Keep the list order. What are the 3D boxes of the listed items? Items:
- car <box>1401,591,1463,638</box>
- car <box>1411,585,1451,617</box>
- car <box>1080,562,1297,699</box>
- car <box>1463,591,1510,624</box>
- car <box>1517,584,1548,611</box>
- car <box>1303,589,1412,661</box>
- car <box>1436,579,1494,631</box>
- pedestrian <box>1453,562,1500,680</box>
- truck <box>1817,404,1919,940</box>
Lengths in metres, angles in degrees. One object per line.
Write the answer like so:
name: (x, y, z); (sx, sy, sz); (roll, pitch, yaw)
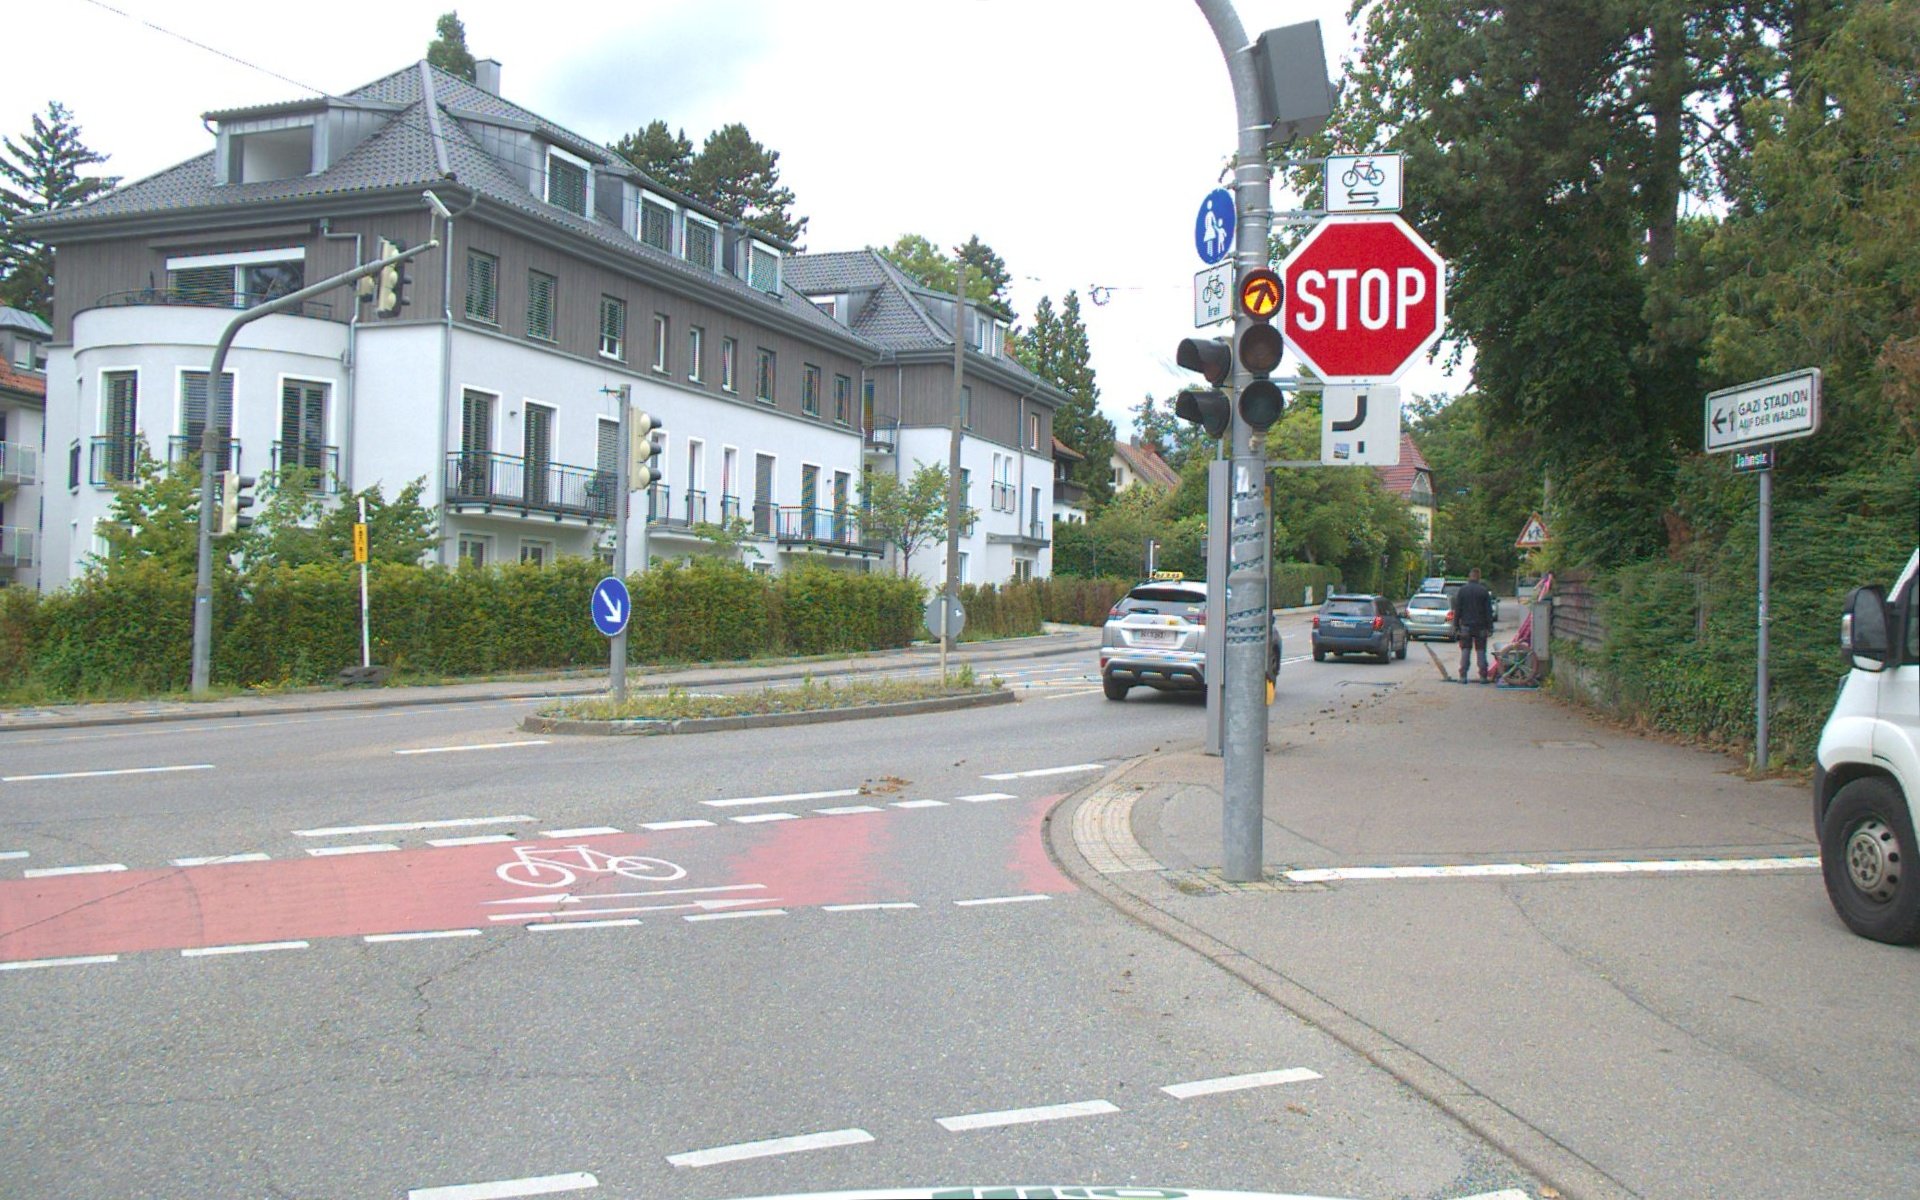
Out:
car: (14.988, 0.436, 52.432); (1.658, 1.455, 3.750); (-1, 0, 19)
car: (28.995, 0.085, 101.738); (1.873, 1.913, 5.142); (-1, -1, 21)
car: (3.421, 0.386, 24.000); (1.772, 1.784, 4.482); (-1, 0, 27)
car: (25.821, 0.332, 81.011); (1.804, 1.485, 4.077); (2, 1, 22)
car: (40.337, -0.186, 116.469); (1.899, 1.857, 4.078); (2, 1, 21)
car: (9.260, 0.535, 38.265); (1.763, 1.553, 4.742); (-1, 0, 22)
car: (20.242, 0.166, 66.211); (1.879, 1.927, 4.909); (2, 1, 20)
pedestrian: (8.600, 0.341, 27.547); (0.584, 1.940, 0.558); (1, 0, 0)
truck: (5.133, 0.322, 5.028); (2.162, 2.283, 5.724); (1, 0, 1)
